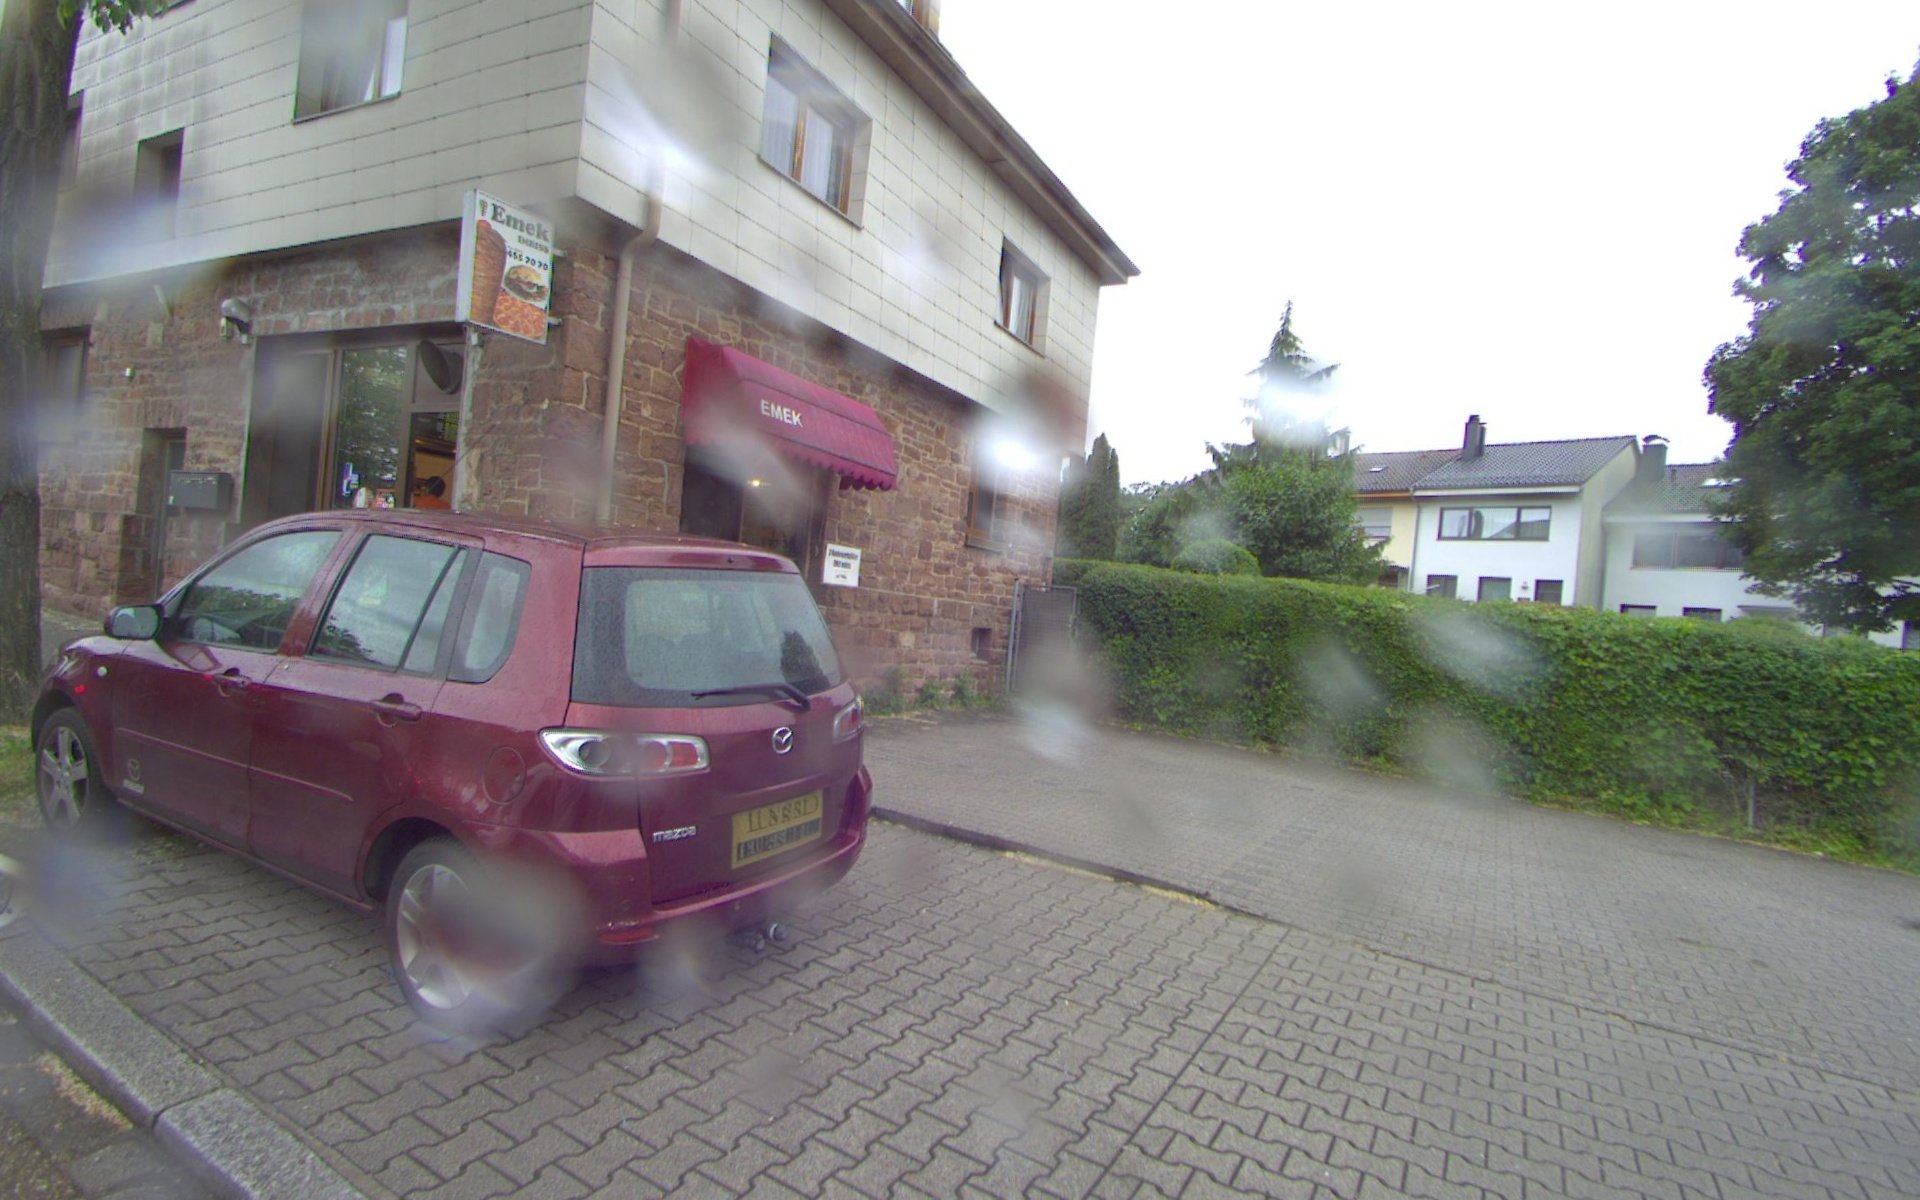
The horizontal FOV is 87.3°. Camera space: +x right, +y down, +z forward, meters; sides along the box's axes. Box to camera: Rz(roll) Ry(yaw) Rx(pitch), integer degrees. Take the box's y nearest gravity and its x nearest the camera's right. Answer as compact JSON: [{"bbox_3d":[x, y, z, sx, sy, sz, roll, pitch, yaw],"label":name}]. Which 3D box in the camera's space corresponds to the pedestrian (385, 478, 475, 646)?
[{"bbox_3d":[-5.572,-0.394,10.580,0.447,1.679,0.493,7,-1,31],"label":"pedestrian"}]

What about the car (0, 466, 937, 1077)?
[{"bbox_3d":[-2.155,0.382,4.127,3.692,1.521,1.614,5,-3,29],"label":"car"}]
